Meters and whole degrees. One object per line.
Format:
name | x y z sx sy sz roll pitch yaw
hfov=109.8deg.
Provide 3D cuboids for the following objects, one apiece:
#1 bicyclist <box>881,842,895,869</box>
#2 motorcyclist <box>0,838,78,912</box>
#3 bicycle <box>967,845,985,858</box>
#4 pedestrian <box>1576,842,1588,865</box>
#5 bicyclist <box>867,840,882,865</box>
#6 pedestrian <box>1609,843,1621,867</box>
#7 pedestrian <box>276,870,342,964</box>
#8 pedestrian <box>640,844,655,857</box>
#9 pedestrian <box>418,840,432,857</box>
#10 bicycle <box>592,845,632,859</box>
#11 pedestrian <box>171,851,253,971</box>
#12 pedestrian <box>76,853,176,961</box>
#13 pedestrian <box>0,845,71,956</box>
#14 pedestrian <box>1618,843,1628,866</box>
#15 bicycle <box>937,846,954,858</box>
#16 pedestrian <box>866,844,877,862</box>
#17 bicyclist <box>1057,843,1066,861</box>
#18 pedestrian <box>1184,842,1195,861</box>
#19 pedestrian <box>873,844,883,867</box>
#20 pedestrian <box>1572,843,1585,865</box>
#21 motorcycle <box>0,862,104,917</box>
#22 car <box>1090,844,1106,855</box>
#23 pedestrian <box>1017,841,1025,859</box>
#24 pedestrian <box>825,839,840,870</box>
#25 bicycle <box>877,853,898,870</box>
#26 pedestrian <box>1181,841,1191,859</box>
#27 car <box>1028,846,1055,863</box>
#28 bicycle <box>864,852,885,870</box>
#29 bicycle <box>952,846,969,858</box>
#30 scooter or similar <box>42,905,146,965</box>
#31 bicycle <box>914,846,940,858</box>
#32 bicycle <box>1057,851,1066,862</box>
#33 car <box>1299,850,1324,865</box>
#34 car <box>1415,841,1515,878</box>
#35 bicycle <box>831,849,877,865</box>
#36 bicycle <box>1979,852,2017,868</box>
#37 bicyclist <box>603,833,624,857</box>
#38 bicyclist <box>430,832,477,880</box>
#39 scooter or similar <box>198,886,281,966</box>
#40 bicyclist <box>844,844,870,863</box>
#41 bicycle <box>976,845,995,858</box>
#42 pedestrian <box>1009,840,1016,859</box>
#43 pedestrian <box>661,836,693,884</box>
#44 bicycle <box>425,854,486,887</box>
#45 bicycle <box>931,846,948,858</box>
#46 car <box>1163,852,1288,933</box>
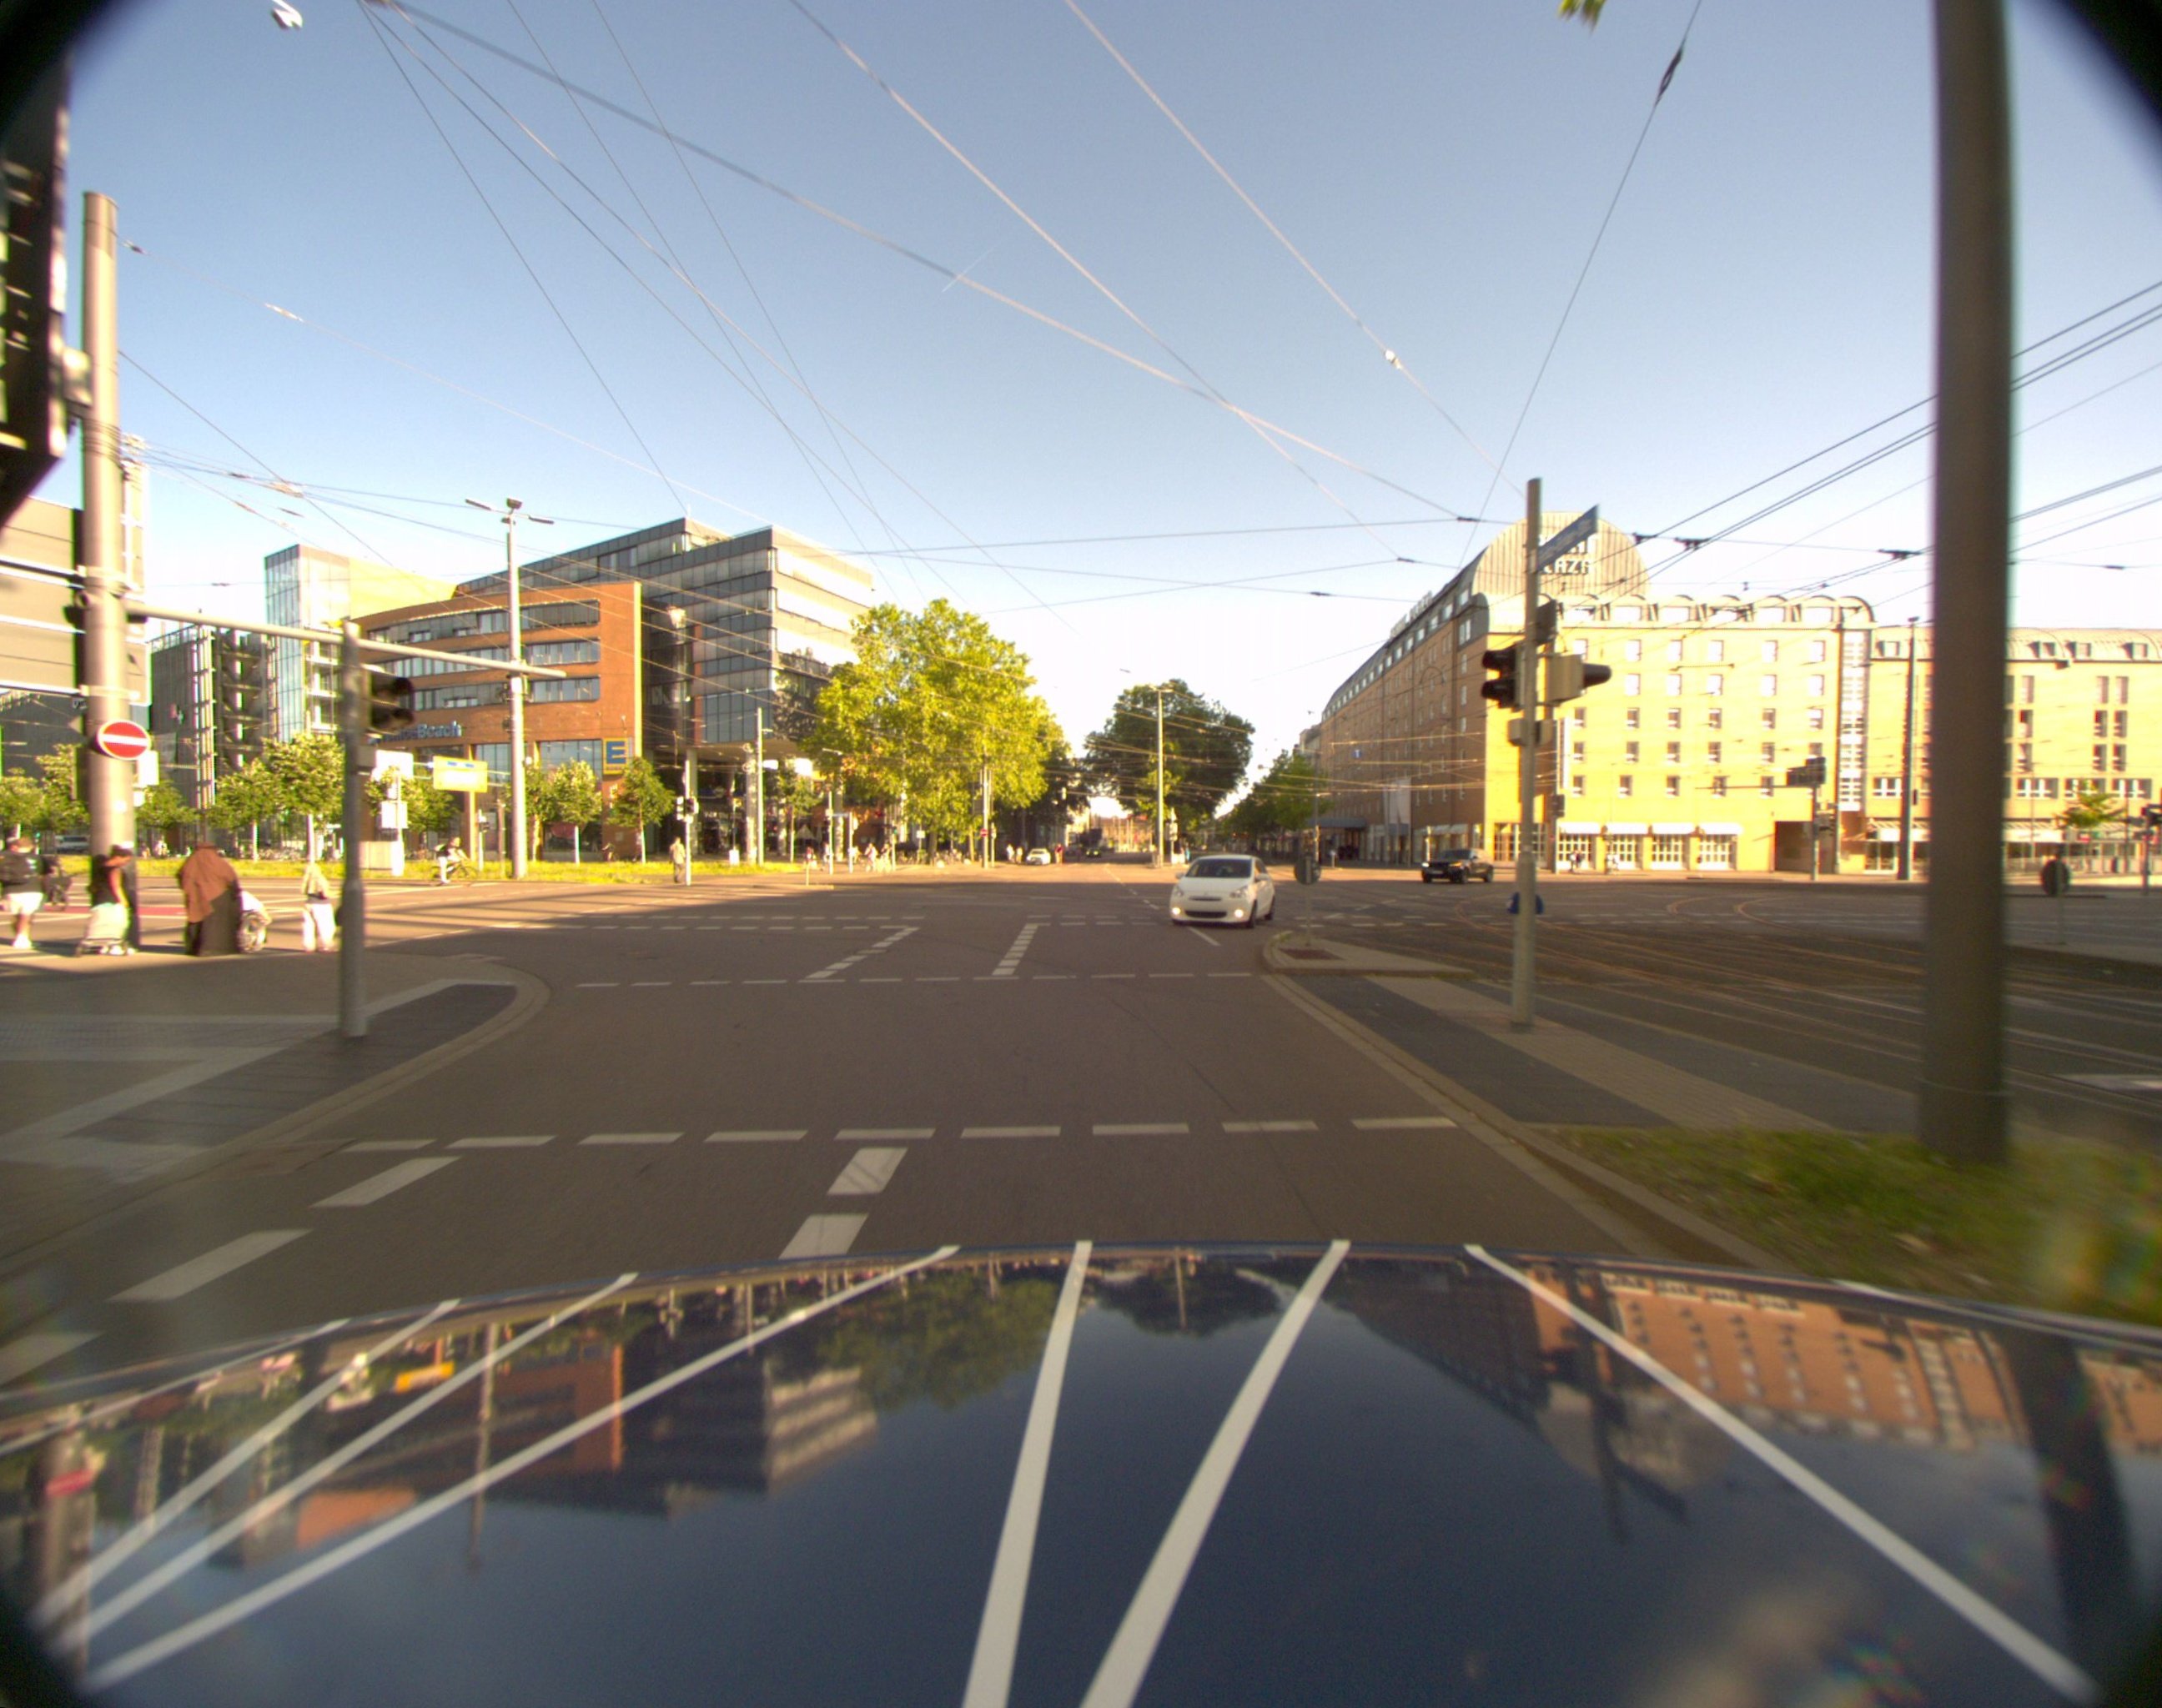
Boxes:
bicyclist | -12.317 0.108 48.494 0.569 1.685 0.745 0 2 11
motorcyclist | -25.504 0.474 18.312 1.458 1.721 1.023 0 2 11
bicycle | -10.457 -0.218 75.463 0.879 1.228 2.925 0 1 -27
pedestrian | 38.199 -0.038 57.917 0.572 1.757 0.696 2 1 44
bicyclist | -12.454 -0.093 45.803 0.569 1.494 0.745 0 2 11
pedestrian | 40.305 0.078 57.365 0.734 1.823 0.496 -3 4 -35
pedestrian | -12.083 0.962 11.912 0.547 1.394 0.636 -1 2 -29
pedestrian | -35.732 -0.310 62.622 0.812 1.051 0.787 1 2 22
pedestrian | -58.637 -0.500 67.907 0.621 1.561 0.709 1 2 23
bicycle | -37.287 -0.142 60.403 3.044 1.107 0.836 1 1 17
pedestrian | -12.813 0.809 11.225 0.582 1.699 0.636 -1 2 -29
pedestrian | -14.467 0.780 11.526 0.659 1.591 0.704 0 0 10
pedestrian | -16.729 0.709 12.085 0.644 1.705 0.691 1 2 29
pedestrian | 41.172 0.035 57.711 0.577 1.765 0.406 3 4 40
bicycle | -13.664 -0.197 76.549 0.879 1.085 2.925 0 1 -27
pedestrian | -18.137 -0.098 65.669 0.562 1.518 0.779 0 2 19
bicyclist | -1.732 -0.200 67.401 0.637 1.606 0.928 0 1 4
pedestrian | 9.036 -0.200 63.478 0.742 1.530 0.676 0 0 -8
pedestrian | -14.107 0.111 52.698 0.489 1.573 0.659 1 1 3
pedestrian | 38.736 -0.023 59.140 0.602 1.717 0.604 0 0 0
motorcycle | -25.388 0.821 18.312 2.938 1.225 0.987 0 2 11
car | 2.626 -0.733 115.282 1.898 1.526 4.002 0 2 9
pedestrian | -5.778 -0.399 73.049 0.642 1.766 0.617 0 2 0
pedestrian | -15.004 0.020 45.864 0.513 1.826 0.704 0 1 35
bicycle | -12.347 0.464 48.452 0.515 1.015 1.860 0 2 11
pedestrian | 8.895 -0.336 64.291 0.742 1.530 0.651 0 0 -8
car | -3.609 0.028 70.114 1.998 1.477 4.001 0 0 4
bicycle | -12.418 0.418 45.808 0.515 1.015 1.634 0 2 12
bicycle | -12.194 -0.205 76.898 0.879 1.085 2.925 0 1 -27
scooter or similar | -14.098 1.143 10.874 0.660 0.786 0.616 0 0 -19
bicycle | -15.026 -0.183 74.217 2.923 1.085 0.879 2 2 41
bicycle | -1.730 0.226 67.398 0.651 0.905 1.859 0 1 4
car | 24.966 0.410 82.405 1.795 1.457 4.311 1 2 6
car | 18.182 0.249 35.974 4.361 1.652 1.952 0 0 -25
bicycle | -17.091 0.204 57.188 3.177 1.126 1.043 0 1 4
bicycle | 68.927 0.433 57.113 0.736 1.065 1.775 -1 2 2
bicyclist | -37.144 -0.711 60.357 1.228 1.920 0.836 1 1 17
bicyclist | -21.827 0.059 26.455 0.992 1.657 0.766 0 1 8
scooter or similar | -13.221 1.108 11.961 0.551 1.123 1.016 -1 2 -29
bicyclist | -16.849 -0.059 57.179 1.562 1.373 1.043 0 1 4
bicycle | -9.542 -0.222 75.964 0.879 1.228 2.925 0 1 -27
pedestrian | -6.559 -0.413 72.952 0.642 1.766 0.617 0 2 0
pedestrian | -15.601 0.226 29.366 0.676 1.813 0.885 0 3 5
bicycle | -21.783 0.576 26.477 1.682 1.101 0.645 0 1 8
bicycle | -14.041 -0.186 75.293 0.879 1.085 2.925 0 1 -27
car | 3.235 0.715 16.351 1.637 1.458 4.193 1 1 25
